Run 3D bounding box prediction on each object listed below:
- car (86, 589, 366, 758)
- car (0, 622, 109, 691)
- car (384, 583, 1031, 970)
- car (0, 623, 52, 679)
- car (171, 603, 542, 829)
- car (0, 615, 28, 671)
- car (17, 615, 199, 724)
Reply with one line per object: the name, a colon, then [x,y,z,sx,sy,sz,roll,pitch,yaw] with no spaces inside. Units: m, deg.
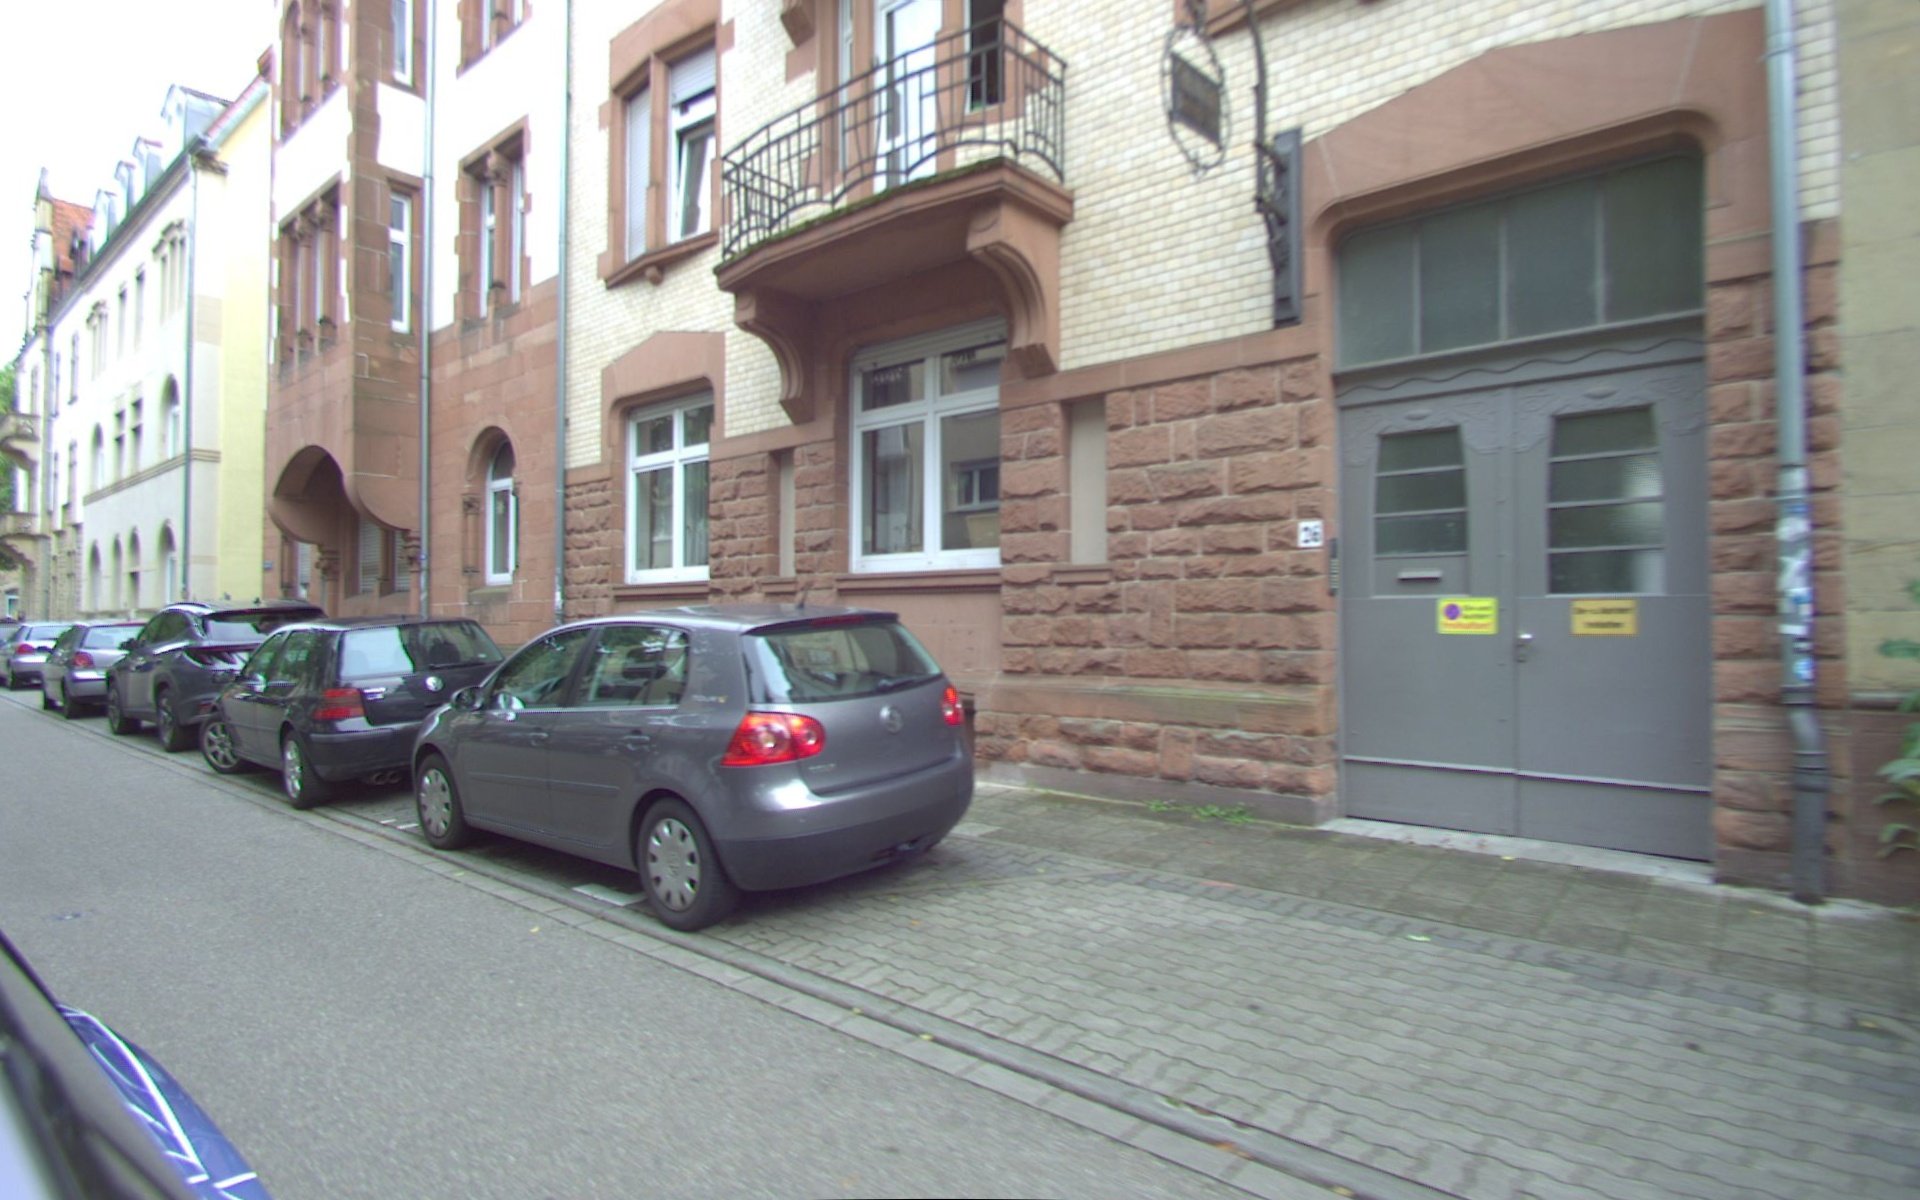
car: [-9.149,0.795,12.478,4.359,1.659,1.768,-2,2,41]
car: [-20.434,1.206,22.415,4.133,1.397,1.709,-2,-2,39]
car: [-1.694,0.718,5.931,3.998,1.484,1.650,-1,2,41]
car: [-25.432,1.332,26.762,3.928,1.397,1.708,-2,-2,42]
car: [-5.479,0.813,8.979,3.998,1.484,1.618,0,3,41]
car: [-28.621,1.289,29.575,2.954,1.582,1.630,-3,0,40]
car: [-13.757,1.038,16.268,3.928,1.431,1.645,-2,2,42]
